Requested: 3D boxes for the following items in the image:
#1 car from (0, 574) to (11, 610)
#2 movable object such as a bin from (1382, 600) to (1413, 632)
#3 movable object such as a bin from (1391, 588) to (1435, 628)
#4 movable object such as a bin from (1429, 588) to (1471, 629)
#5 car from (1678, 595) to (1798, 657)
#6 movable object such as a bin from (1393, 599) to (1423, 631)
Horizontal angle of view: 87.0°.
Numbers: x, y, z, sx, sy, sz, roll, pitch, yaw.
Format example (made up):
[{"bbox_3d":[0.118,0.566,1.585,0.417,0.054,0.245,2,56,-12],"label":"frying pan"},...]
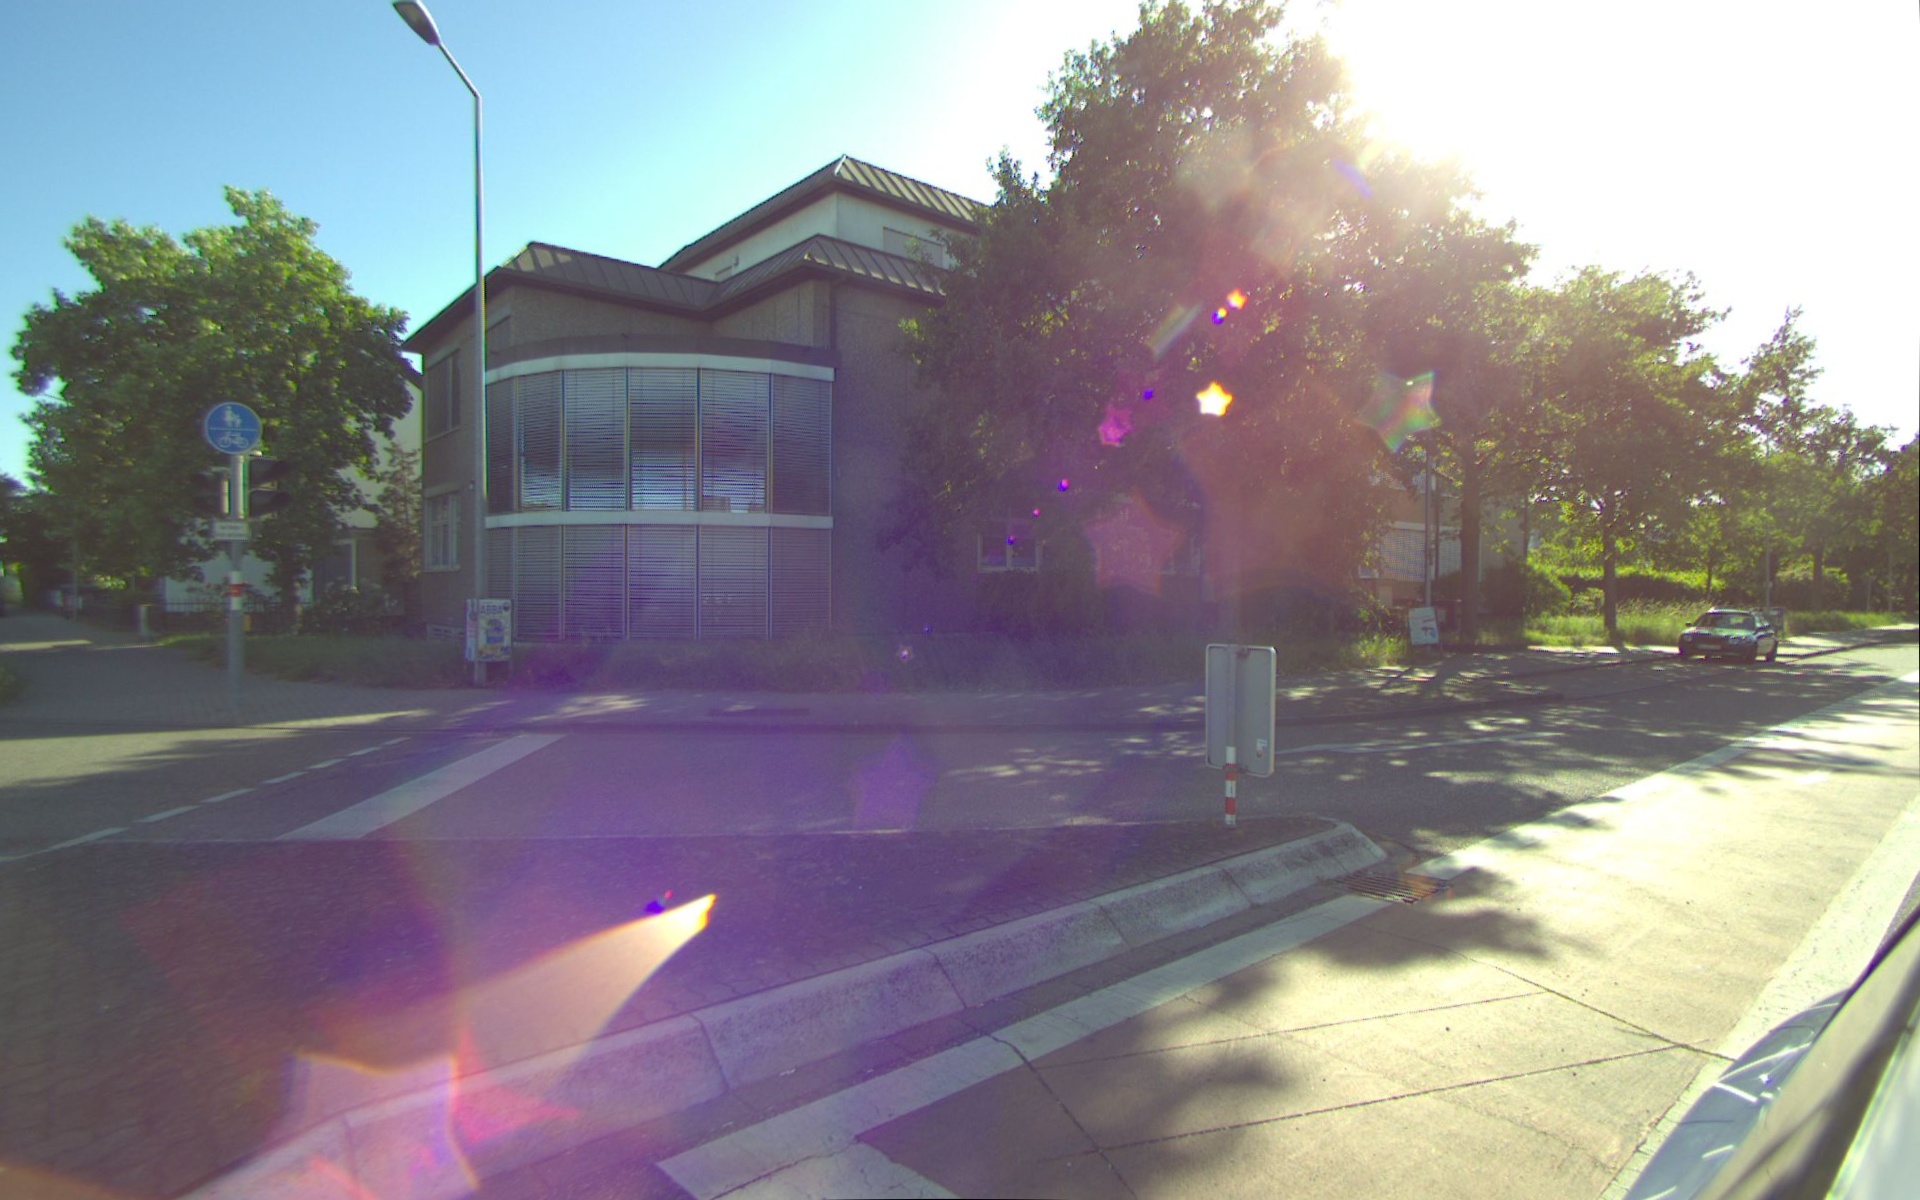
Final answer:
[{"bbox_3d":[-44.835,-0.396,46.253,3.988,1.638,1.968,2,1,44],"label":"car"},{"bbox_3d":[14.381,0.518,33.247,0.683,1.055,0.687,0,-1,-40],"label":"movable object such as a bin"},{"bbox_3d":[15.863,0.265,35.459,0.782,1.358,1.207,0,0,-40],"label":"movable object such as a bin"},{"bbox_3d":[16.747,0.277,34.578,0.782,1.338,1.088,0,0,-40],"label":"movable object such as a bin"},{"bbox_3d":[21.471,0.647,27.881,4.141,1.504,1.776,0,2,-41],"label":"car"},{"bbox_3d":[14.922,0.500,33.704,0.683,1.055,0.687,0,0,-40],"label":"movable object such as a bin"}]
